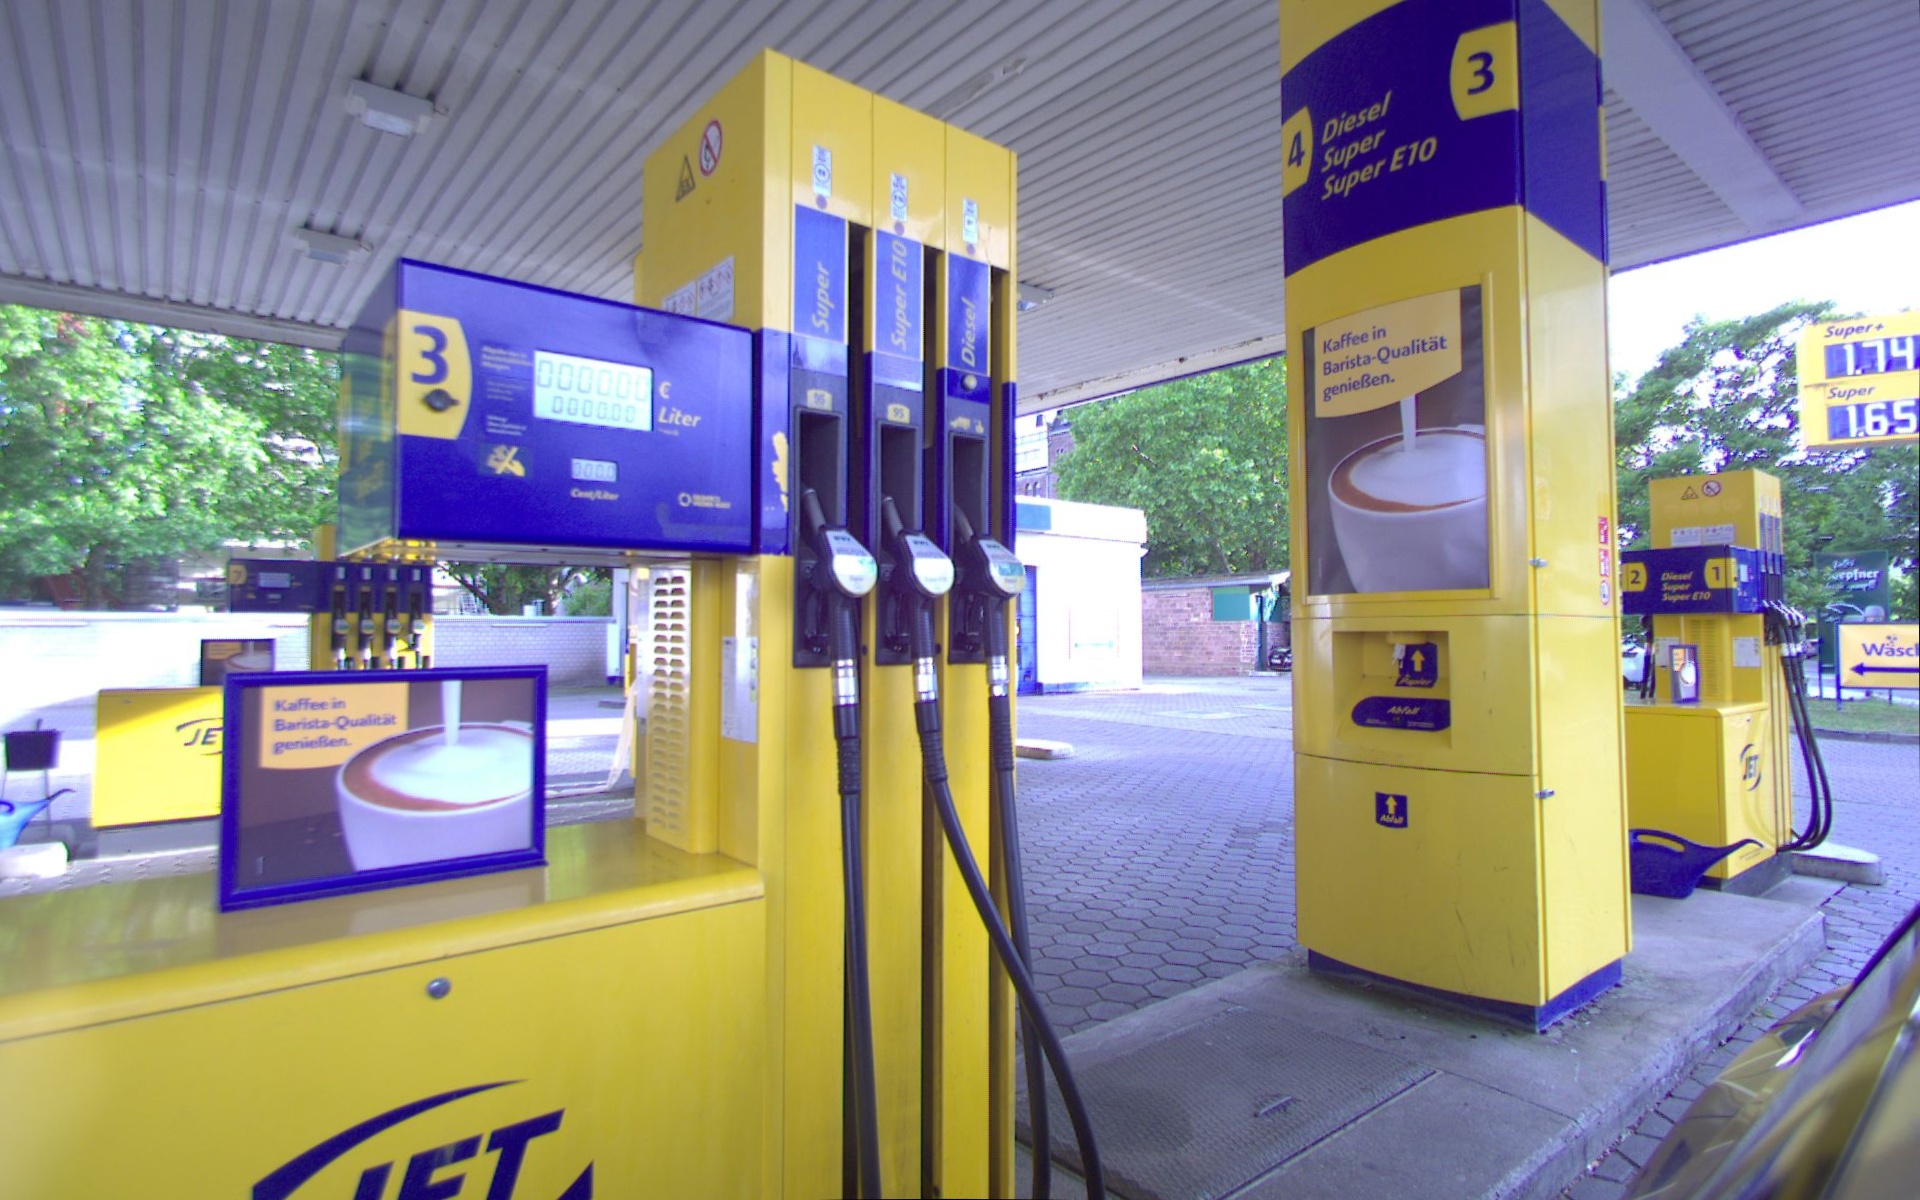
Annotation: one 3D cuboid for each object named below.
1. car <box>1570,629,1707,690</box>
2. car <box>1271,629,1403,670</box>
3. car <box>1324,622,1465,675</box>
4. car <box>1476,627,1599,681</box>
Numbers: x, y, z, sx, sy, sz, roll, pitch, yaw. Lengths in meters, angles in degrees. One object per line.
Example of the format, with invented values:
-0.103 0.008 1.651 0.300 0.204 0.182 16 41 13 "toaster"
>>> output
18.235 1.565 27.174 3.923 1.529 1.740 2 -3 -35 "car"
12.844 1.702 34.510 4.134 1.294 1.751 2 -3 -22 "car"
13.804 1.551 32.161 4.134 1.544 1.791 2 -3 -24 "car"
17.570 1.644 30.761 3.923 1.529 1.740 3 -3 -35 "car"
